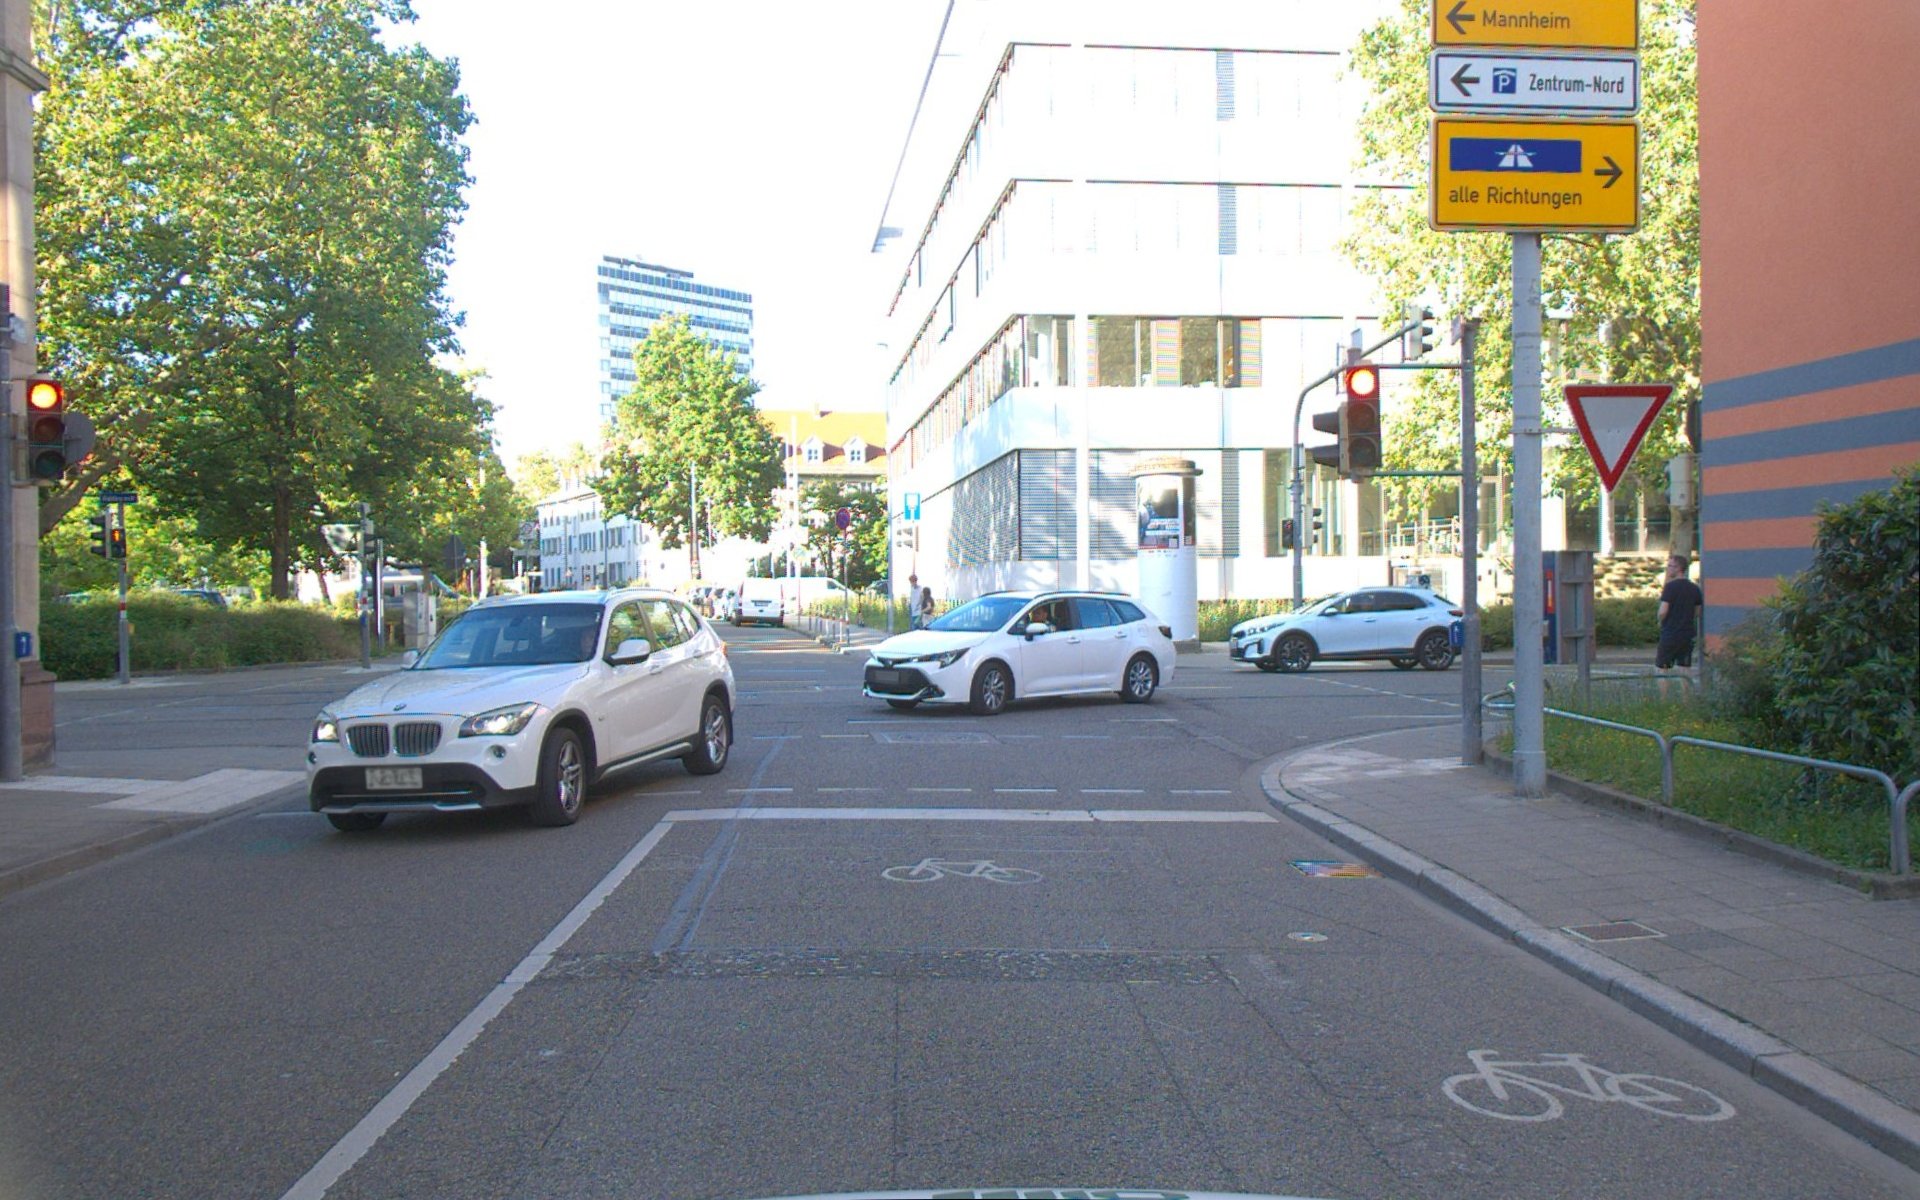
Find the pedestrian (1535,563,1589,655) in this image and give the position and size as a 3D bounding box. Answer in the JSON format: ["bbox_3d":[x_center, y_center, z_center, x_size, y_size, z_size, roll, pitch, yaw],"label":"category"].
[{"bbox_3d":[12.459,0.174,34.255,0.818,1.872,0.709,1,0,-2],"label":"pedestrian"}]

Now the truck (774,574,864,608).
[{"bbox_3d":[-8.777,-0.565,102.924,5.258,2.049,1.989,-1,0,-20],"label":"truck"}]

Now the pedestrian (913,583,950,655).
[{"bbox_3d":[-0.646,0.429,37.186,0.551,1.567,0.673,-4,1,-19],"label":"pedestrian"}]

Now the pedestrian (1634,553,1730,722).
[{"bbox_3d":[8.205,0.414,18.826,0.692,1.872,0.837,1,0,-1],"label":"pedestrian"}]

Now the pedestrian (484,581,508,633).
[{"bbox_3d":[-15.985,0.254,56.959,0.692,1.753,0.950,-2,0,-18],"label":"pedestrian"}]

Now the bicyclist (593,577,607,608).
[{"bbox_3d":[-18.639,-0.389,85.593,0.604,1.559,0.901,-1,0,-9],"label":"bicyclist"}]

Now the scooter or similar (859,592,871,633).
[{"bbox_3d":[-3.365,0.436,58.511,0.324,1.449,1.333,1,0,-6],"label":"scooter or similar"}]

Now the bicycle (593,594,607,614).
[{"bbox_3d":[-18.628,0.207,85.582,0.604,0.986,1.837,-1,1,-9],"label":"bicycle"}]

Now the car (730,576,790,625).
[{"bbox_3d":[-7.845,-0.013,64.599,2.047,1.827,4.404,0,1,-10],"label":"car"}]

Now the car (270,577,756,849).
[{"bbox_3d":[-3.079,0.691,12.429,1.649,1.610,4.279,-3,1,13],"label":"car"}]

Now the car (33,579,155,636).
[{"bbox_3d":[-39.976,0.334,76.441,4.472,2.433,2.069,-2,0,-10],"label":"car"}]

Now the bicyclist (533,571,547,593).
[{"bbox_3d":[-31.205,-1.349,122.967,0.850,1.541,1.016,-3,0,-12],"label":"bicyclist"}]

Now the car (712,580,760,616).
[{"bbox_3d":[-10.609,-0.104,78.152,1.856,1.582,4.400,0,1,-14],"label":"car"}]

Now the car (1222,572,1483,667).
[{"bbox_3d":[7.031,0.335,29.895,4.235,1.603,1.822,-1,0,-5],"label":"car"}]

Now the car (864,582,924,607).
[{"bbox_3d":[-4.163,-0.351,104.179,3.502,1.573,1.549,-1,0,-20],"label":"car"}]

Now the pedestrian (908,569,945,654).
[{"bbox_3d":[-0.761,0.262,37.790,0.547,1.882,0.678,-3,1,15],"label":"pedestrian"}]

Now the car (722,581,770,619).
[{"bbox_3d":[-9.442,-0.029,72.798,1.854,1.582,4.404,0,1,-10],"label":"car"}]

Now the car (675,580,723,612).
[{"bbox_3d":[-14.298,-0.240,90.442,1.860,1.684,4.391,0,1,-19],"label":"car"}]

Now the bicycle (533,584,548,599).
[{"bbox_3d":[-31.170,-0.606,122.954,0.850,1.027,2.407,-3,0,-11],"label":"bicycle"}]

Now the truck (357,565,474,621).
[{"bbox_3d":[-24.565,-0.327,74.757,4.741,2.441,2.082,0,1,-11],"label":"truck"}]

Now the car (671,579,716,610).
[{"bbox_3d":[-15.347,-0.338,95.265,1.860,1.684,4.391,0,1,-19],"label":"car"}]

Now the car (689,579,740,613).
[{"bbox_3d":[-12.674,-0.227,85.369,1.860,1.684,4.391,0,1,-19],"label":"car"}]

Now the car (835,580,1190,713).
[{"bbox_3d":[0.755,0.513,20.937,4.508,1.501,1.863,-1,0,-43],"label":"car"}]
